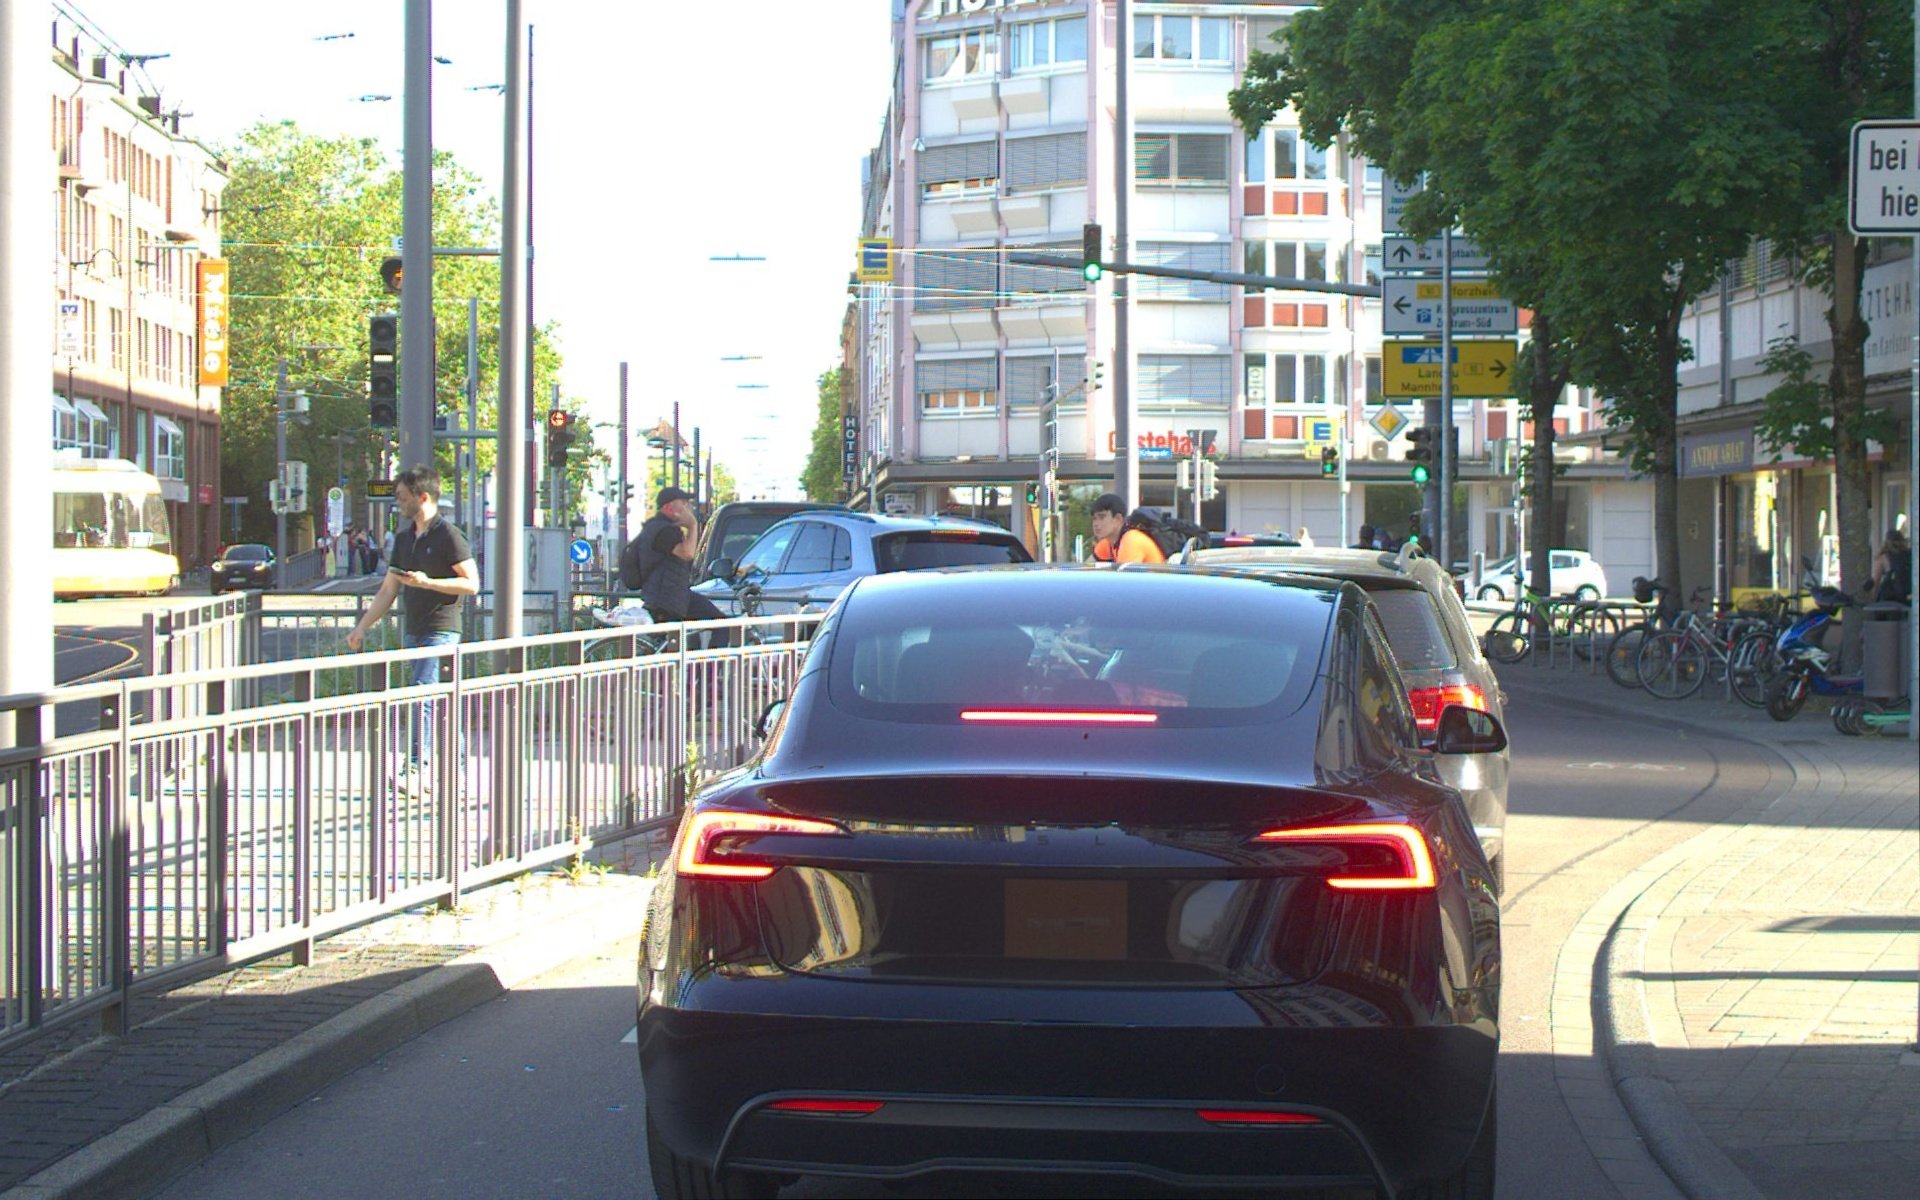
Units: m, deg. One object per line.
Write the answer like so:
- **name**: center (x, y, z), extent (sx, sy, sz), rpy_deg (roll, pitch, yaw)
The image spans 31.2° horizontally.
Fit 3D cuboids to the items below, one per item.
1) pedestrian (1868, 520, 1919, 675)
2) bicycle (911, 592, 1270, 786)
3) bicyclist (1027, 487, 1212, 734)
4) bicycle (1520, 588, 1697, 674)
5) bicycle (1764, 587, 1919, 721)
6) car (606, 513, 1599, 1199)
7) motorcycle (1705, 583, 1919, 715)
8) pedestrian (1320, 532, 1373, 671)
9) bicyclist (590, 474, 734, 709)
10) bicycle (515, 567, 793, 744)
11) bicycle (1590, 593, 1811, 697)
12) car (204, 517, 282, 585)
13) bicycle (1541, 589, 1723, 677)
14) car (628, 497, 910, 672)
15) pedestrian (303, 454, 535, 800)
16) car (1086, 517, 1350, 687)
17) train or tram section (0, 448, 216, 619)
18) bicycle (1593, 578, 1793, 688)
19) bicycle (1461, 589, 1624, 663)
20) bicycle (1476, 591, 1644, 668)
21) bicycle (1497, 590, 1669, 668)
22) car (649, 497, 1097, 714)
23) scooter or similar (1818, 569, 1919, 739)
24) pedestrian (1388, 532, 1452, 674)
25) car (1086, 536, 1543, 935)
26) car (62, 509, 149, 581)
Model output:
- **pedestrian**: center (10.028, -0.032, 36.636), extent (0.531, 1.636, 0.606), rpy_deg (0, 0, -1)
- **bicycle**: center (0.776, 0.532, 20.658), extent (1.972, 1.068, 0.775), rpy_deg (2, 0, -15)
- **bicyclist**: center (0.957, 0.061, 20.701), extent (0.907, 1.433, 0.629), rpy_deg (2, 0, -16)
- **bicycle**: center (7.473, 0.357, 39.641), extent (1.924, 0.947, 0.526), rpy_deg (1, 0, -1)
- **bicycle**: center (7.995, 0.466, 29.501), extent (2.051, 1.118, 0.483), rpy_deg (1, 0, -1)
- **car**: center (0.157, 0.580, 8.389), extent (1.848, 1.479, 3.788), rpy_deg (2, 1, -4)
- **motorcycle**: center (7.915, 0.445, 31.527), extent (1.991, 1.124, 0.596), rpy_deg (2, 0, -2)
- **pedestrian**: center (4.751, 0.012, 42.270), extent (0.562, 1.677, 0.750), rpy_deg (2, 1, 3)
- **bicyclist**: center (-1.960, -0.058, 22.537), extent (0.836, 1.494, 0.560), rpy_deg (2, 0, -10)
- **bicycle**: center (-2.013, 0.359, 22.548), extent (1.727, 1.084, 0.678), rpy_deg (2, 0, -10)
- **bicycle**: center (7.257, 0.436, 33.726), extent (2.051, 0.979, 0.483), rpy_deg (1, 0, -1)
- **car**: center (-22.229, -1.526, 106.688), extent (1.993, 2.007, 4.001), rpy_deg (2, 1, -7)
- **bicycle**: center (7.546, 0.371, 38.627), extent (1.924, 0.947, 0.526), rpy_deg (1, 0, -1)
- **car**: center (-1.911, -0.178, 33.129), extent (1.823, 1.514, 4.219), rpy_deg (2, 1, -15)
- **pedestrian**: center (-2.787, 0.141, 17.710), extent (1.004, 1.736, 0.529), rpy_deg (2, 0, -27)
- **car**: center (2.473, -0.007, 33.803), extent (1.824, 1.514, 3.650), rpy_deg (2, 1, -7)
- **train or tram section**: center (-23.739, -1.600, 75.400), extent (15.344, 3.706, 2.644), rpy_deg (2, 1, -44)
- **bicycle**: center (7.590, 0.339, 35.635), extent (1.924, 1.093, 0.555), rpy_deg (1, 0, -1)
- **bicycle**: center (7.239, 0.322, 42.784), extent (1.924, 0.887, 0.526), rpy_deg (1, 0, -1)
- **bicycle**: center (7.270, 0.355, 41.706), extent (1.924, 0.887, 0.526), rpy_deg (1, 0, -1)
- **bicycle**: center (7.371, 0.343, 40.715), extent (1.924, 0.885, 0.526), rpy_deg (1, 0, -1)
- **car**: center (-0.772, -0.001, 26.814), extent (1.783, 1.514, 4.219), rpy_deg (2, 1, -27)
- **scooter or similar**: center (7.554, 0.422, 27.125), extent (1.408, 1.312, 0.696), rpy_deg (0, -1, -27)
- **pedestrian**: center (5.306, 0.026, 39.688), extent (0.629, 1.608, 0.643), rpy_deg (2, 1, 1)
- **car**: center (1.599, 0.466, 14.873), extent (1.654, 1.413, 3.999), rpy_deg (2, 2, 8)
- **car**: center (-25.395, -1.636, 102.300), extent (1.993, 2.007, 4.001), rpy_deg (2, 1, -7)
